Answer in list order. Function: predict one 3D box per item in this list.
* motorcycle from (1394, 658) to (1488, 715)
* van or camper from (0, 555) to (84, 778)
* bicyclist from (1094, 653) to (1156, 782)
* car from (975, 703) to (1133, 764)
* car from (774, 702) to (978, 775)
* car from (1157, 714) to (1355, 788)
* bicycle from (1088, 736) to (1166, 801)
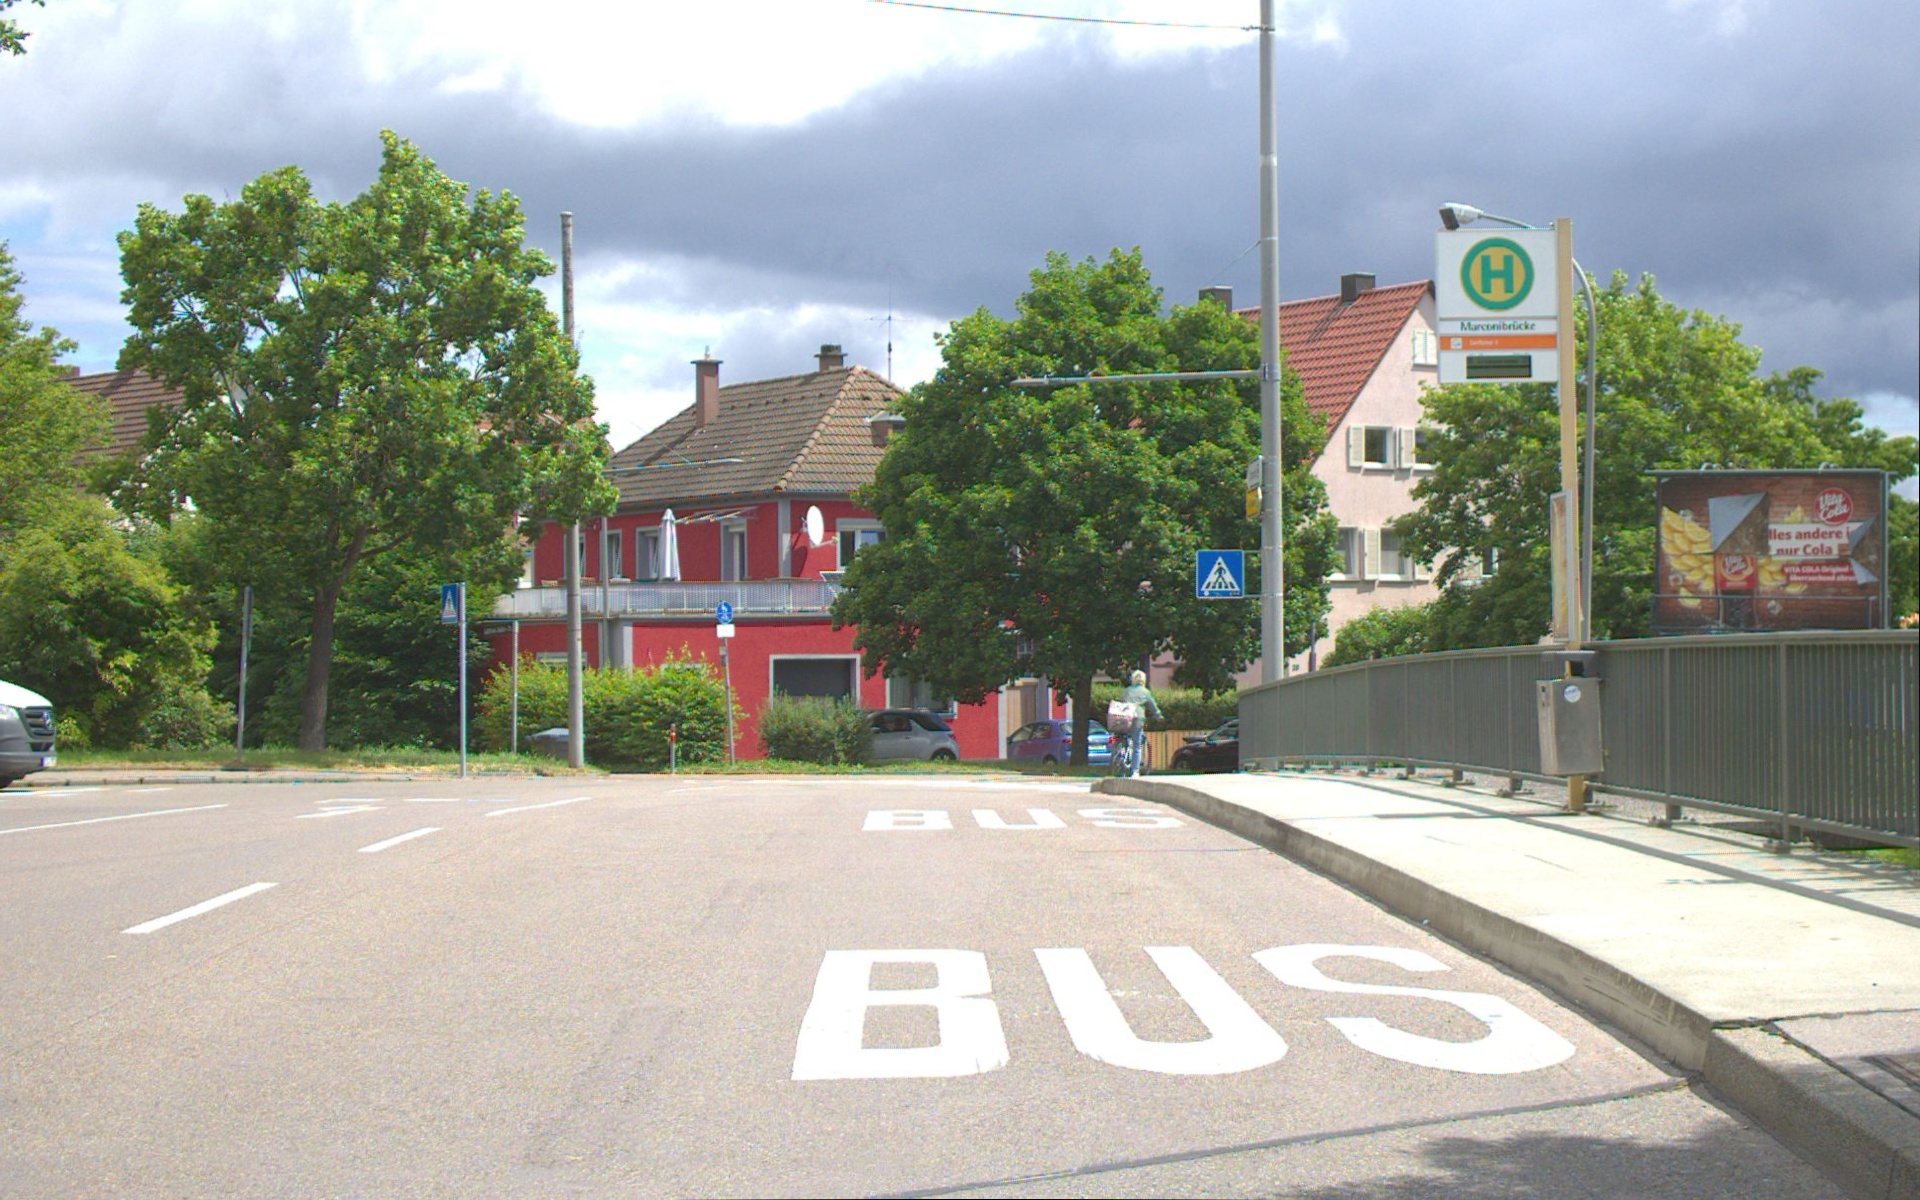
[{"bbox_3d":[11.934,2.151,85.206,2.228,1.311,0.920,4,-3,-34],"label":"motorcycle"},{"bbox_3d":[-13.697,0.884,40.997,5.909,2.558,2.193,-1,-3,1],"label":"van or camper"},{"bbox_3d":[2.397,1.707,49.828,0.685,1.820,1.079,0,-5,14],"label":"bicyclist"},{"bbox_3d":[2.155,3.108,79.693,1.837,1.373,3.813,2,-3,-32],"label":"car"},{"bbox_3d":[-1.774,2.957,73.245,4.064,1.421,1.645,3,-2,-33],"label":"car"},{"bbox_3d":[6.158,3.142,71.909,1.993,1.389,4.144,3,-2,-32],"label":"car"},{"bbox_3d":[2.436,2.457,49.934,0.688,0.875,2.100,0,-5,15],"label":"bicycle"}]
